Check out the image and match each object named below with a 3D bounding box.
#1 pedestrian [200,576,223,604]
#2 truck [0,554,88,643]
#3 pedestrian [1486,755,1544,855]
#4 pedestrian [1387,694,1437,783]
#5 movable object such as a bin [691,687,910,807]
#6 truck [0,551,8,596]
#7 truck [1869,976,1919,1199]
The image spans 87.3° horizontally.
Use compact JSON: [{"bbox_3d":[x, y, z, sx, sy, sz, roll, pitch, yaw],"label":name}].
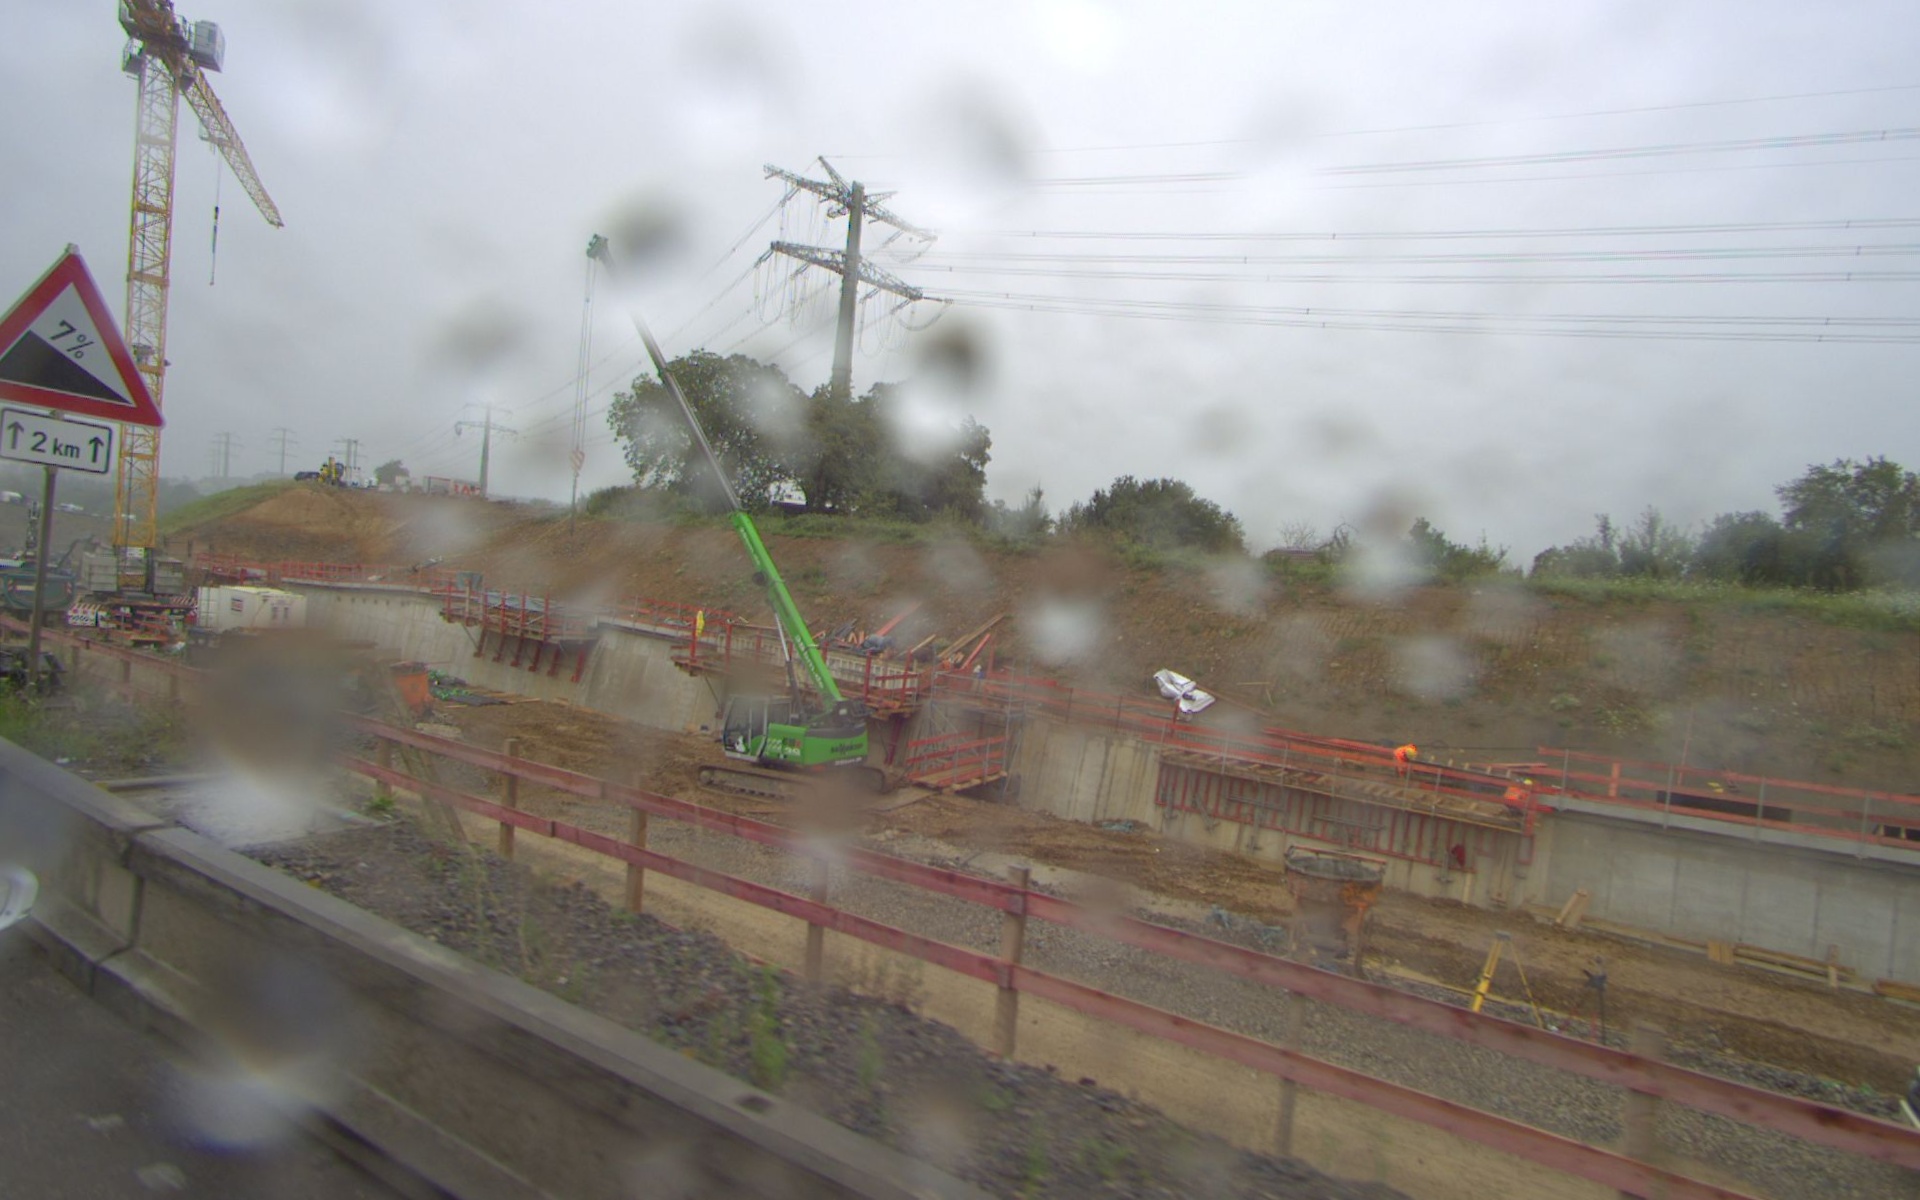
[{"bbox_3d":[-60.936,-0.835,81.902,0.886,2.013,0.906,5,-12,41],"label":"pedestrian"},{"bbox_3d":[-45.495,-0.242,48.574,8.806,3.544,2.702,6,-2,35],"label":"truck"},{"bbox_3d":[13.785,5.064,24.955,0.990,2.253,0.918,5,-6,35],"label":"pedestrian"},{"bbox_3d":[12.439,3.807,27.668,0.989,2.267,0.919,6,-5,29],"label":"pedestrian"},{"bbox_3d":[-4.520,4.045,28.808,4.779,2.836,3.797,1,-4,32],"label":"movable object such as a bin"},{"bbox_3d":[-83.926,-2.546,85.993,8.940,3.531,2.727,6,-2,42],"label":"truck"},{"bbox_3d":[12.943,5.658,9.800,5.693,1.895,1.763,6,0,33],"label":"truck"}]
